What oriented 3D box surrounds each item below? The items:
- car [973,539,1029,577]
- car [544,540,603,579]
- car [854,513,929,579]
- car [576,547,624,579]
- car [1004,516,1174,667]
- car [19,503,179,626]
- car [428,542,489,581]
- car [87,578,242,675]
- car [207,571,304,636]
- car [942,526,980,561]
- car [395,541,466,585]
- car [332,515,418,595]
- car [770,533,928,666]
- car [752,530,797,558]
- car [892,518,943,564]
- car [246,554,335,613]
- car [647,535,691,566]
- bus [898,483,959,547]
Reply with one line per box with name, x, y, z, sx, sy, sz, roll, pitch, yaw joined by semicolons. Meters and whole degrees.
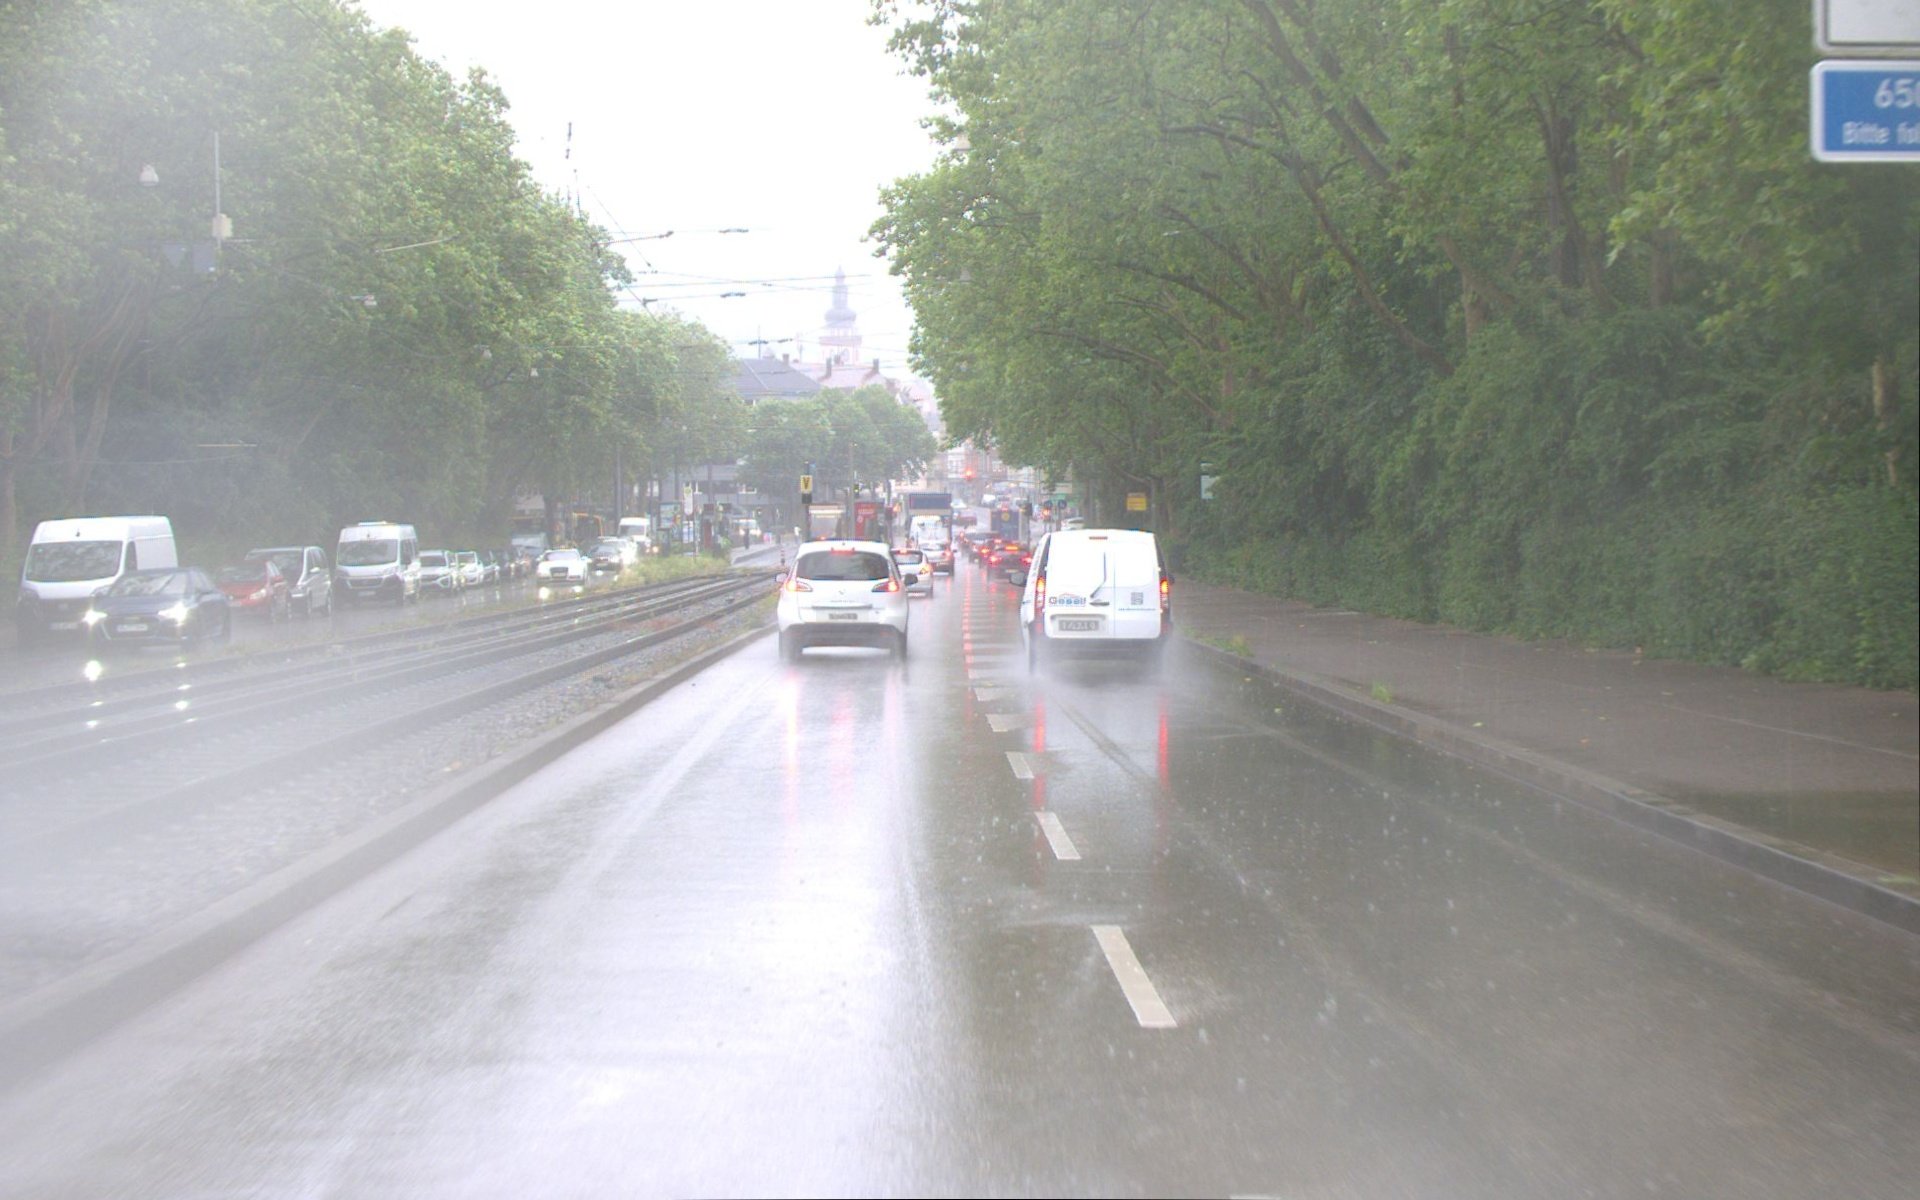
car;1.541;-1.580;127.999;1.993;1.316;4.000;1;2;1
car;-15.018;-1.592;133.820;1.805;1.345;4.264;-2;2;-1
car;-1.977;-1.603;100.302;1.993;1.820;4.000;1;2;1
car;-16.819;-1.751;160.926;1.805;1.345;4.264;-2;2;-1
car;1.578;-0.152;43.044;1.993;1.720;4.000;1;2;1
car;-16.539;-0.739;66.322;1.741;2.162;5.815;-2;2;-2
car;-19.940;-1.544;136.725;1.805;1.345;4.264;-2;2;-1
car;-13.475;0.421;58.462;1.506;1.396;4.708;-2;2;0
car;-16.826;0.058;82.226;1.506;1.345;4.027;-2;2;-1
car;0.071;-3.145;190.055;1.993;1.820;4.000;1;2;1
car;-18.299;-1.282;118.951;1.805;1.345;4.264;-2;2;-1
car;-17.447;-1.361;102.743;1.800;2.214;4.278;-2;2;-1
car;-1.529;-0.044;48.683;1.993;1.711;4.000;1;2;1
car;-9.892;-3.008;183.621;1.805;1.345;4.263;-2;2;4
car;-1.766;-2.504;144.214;1.993;1.820;4.000;1;2;1
car;-17.124;-0.442;88.050;1.506;1.345;4.027;-2;2;-1
car;-13.861;-2.382;164.068;1.805;1.345;4.264;-2;2;-1
bus;-1.878;-5.272;211.159;3.389;3.823;9.739;1;2;1
